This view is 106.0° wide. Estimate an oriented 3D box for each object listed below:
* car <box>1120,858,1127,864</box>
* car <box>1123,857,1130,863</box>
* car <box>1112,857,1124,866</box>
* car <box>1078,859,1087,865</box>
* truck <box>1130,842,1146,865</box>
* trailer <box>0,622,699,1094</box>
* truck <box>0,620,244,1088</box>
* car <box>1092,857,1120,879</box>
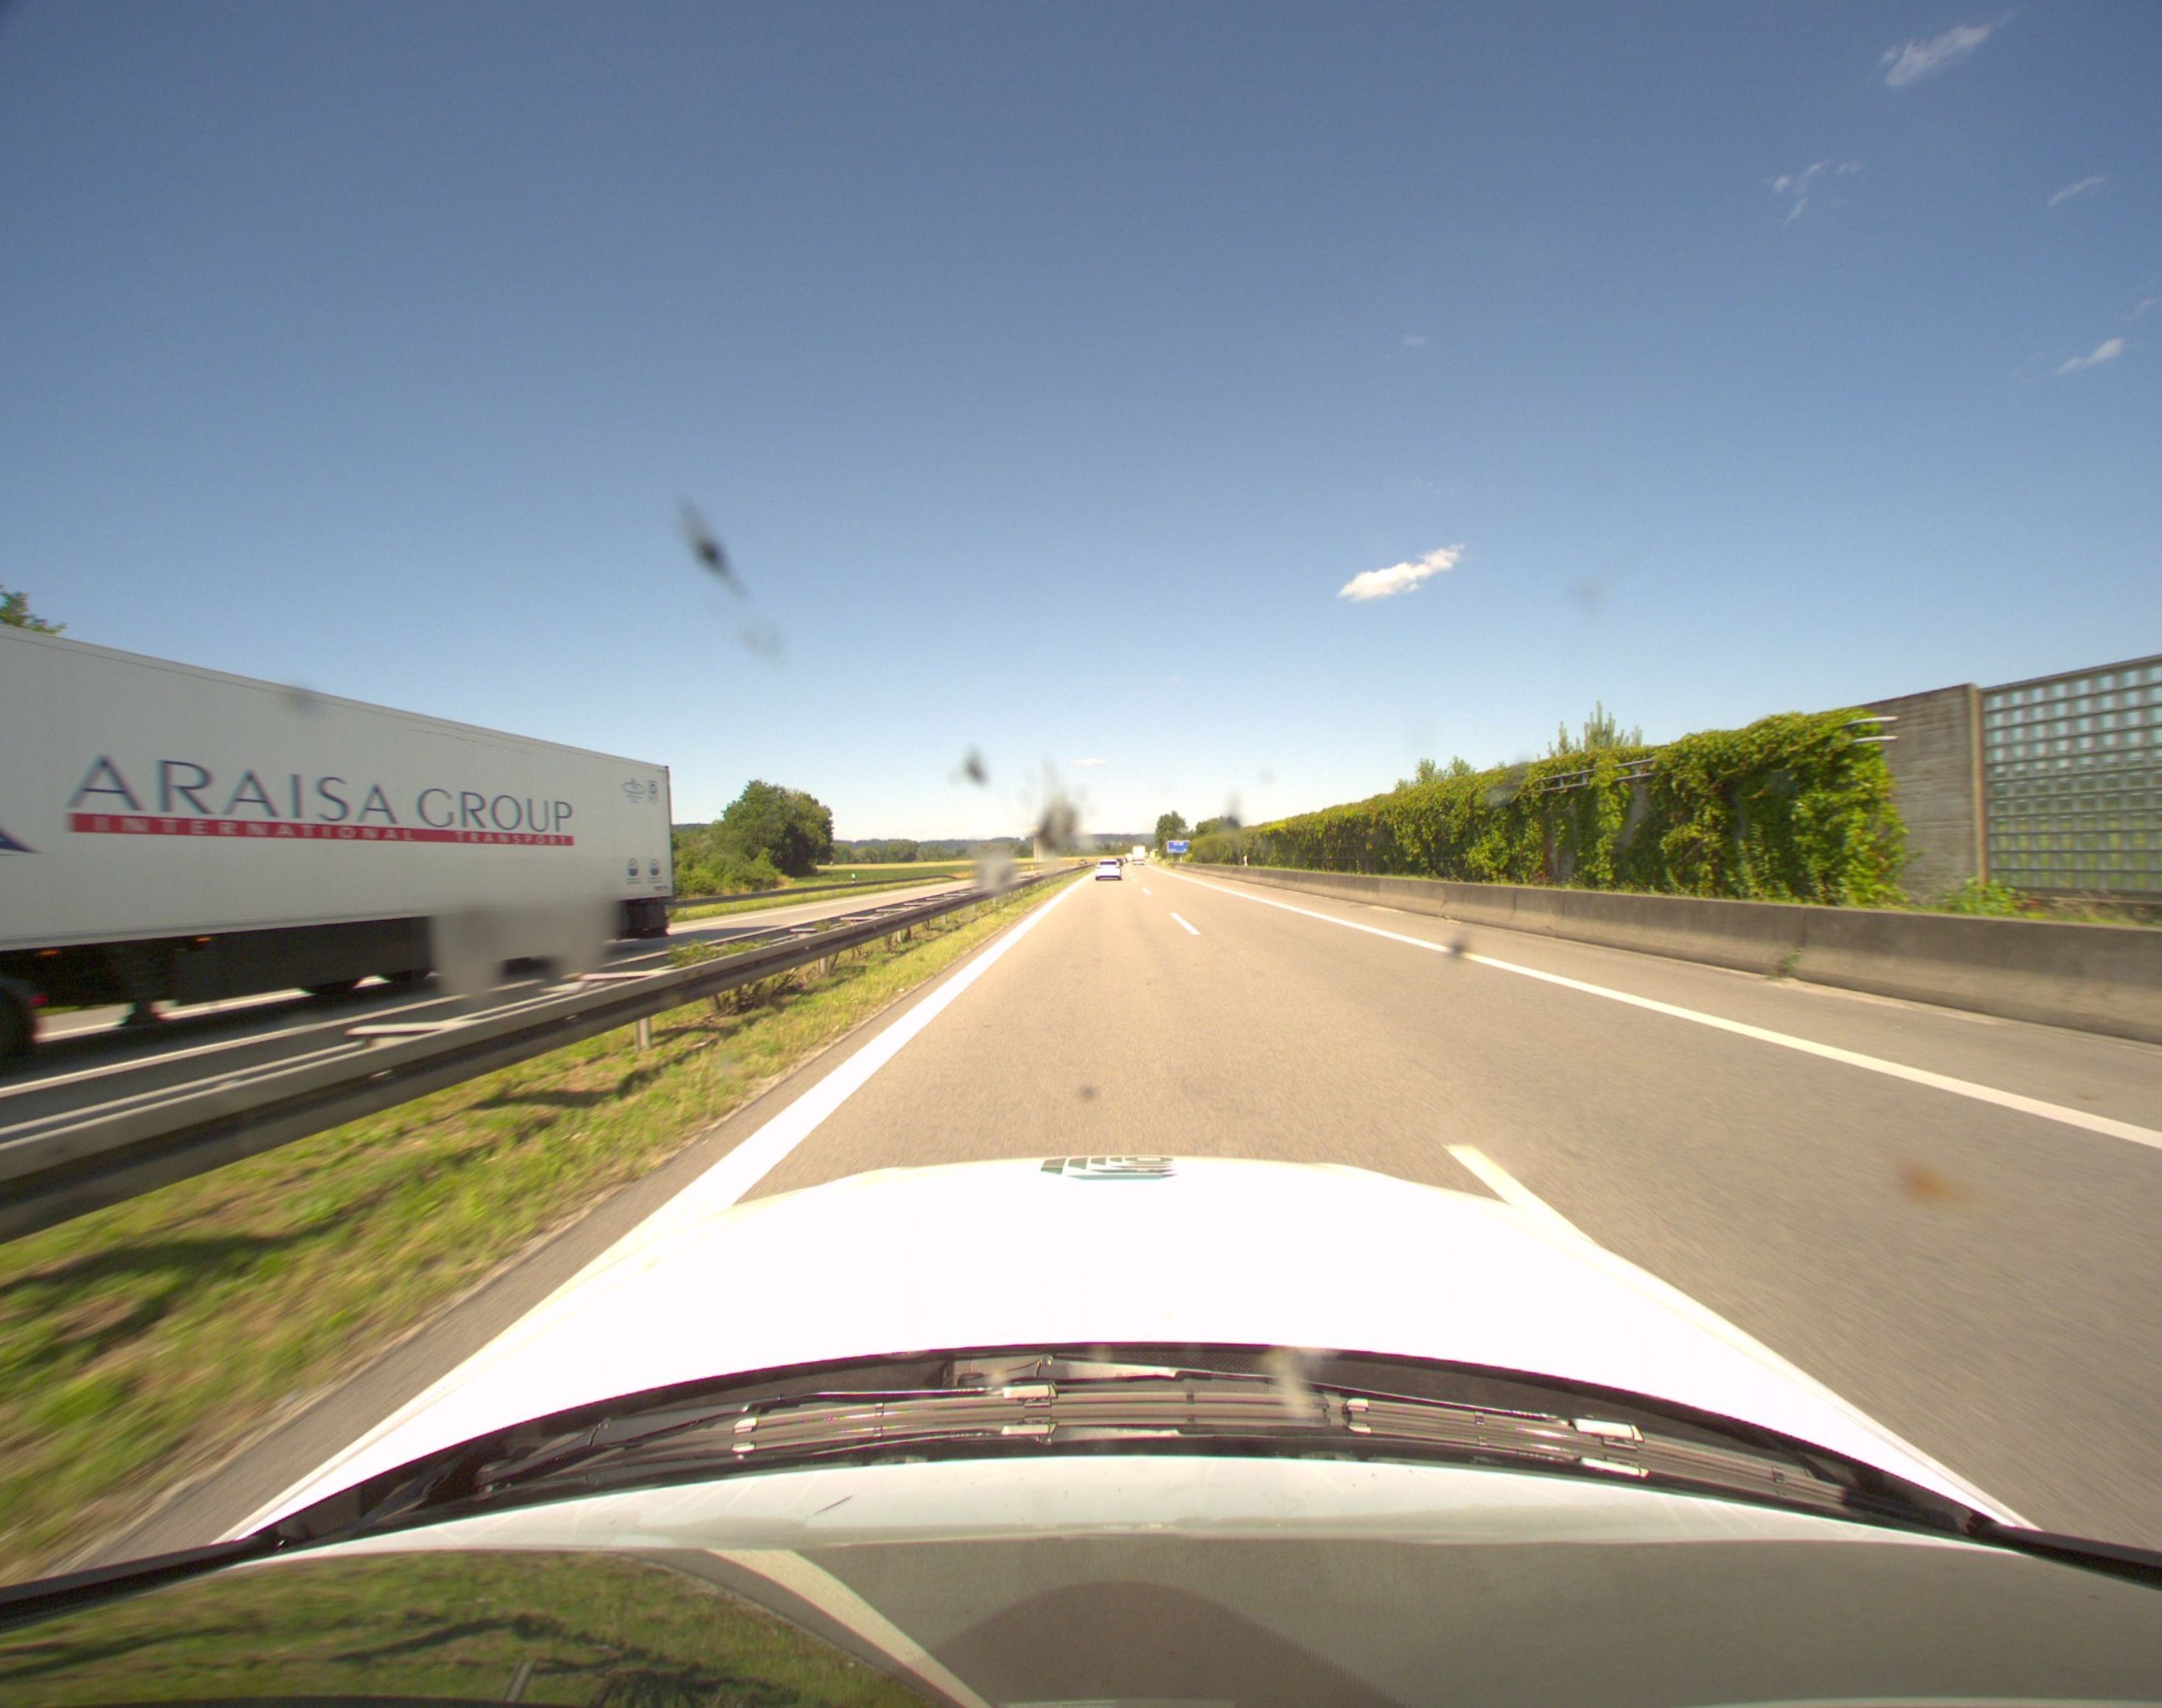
[{"bbox_3d":[11.129,1.875,213.336,1.763,1.421,4.370,-2,0,5],"label":"car"},{"bbox_3d":[12.956,1.664,231.849,1.763,1.421,4.371,-2,0,5],"label":"car"},{"bbox_3d":[6.240,1.275,136.891,1.763,1.421,4.501,-2,0,5],"label":"car"},{"bbox_3d":[0.385,2.168,222.231,1.985,1.661,4.779,-4,0,3],"label":"car"},{"bbox_3d":[12.377,-0.077,176.620,3.138,4.612,8.914,-3,0,4],"label":"truck"},{"bbox_3d":[-10.822,0.115,12.287,3.139,4.124,13.447,-4,0,2],"label":"trailer"},{"bbox_3d":[-11.078,0.085,5.158,3.145,4.101,7.738,-4,0,2],"label":"truck"},{"bbox_3d":[1.790,0.933,56.676,1.833,1.421,5.257,-1,0,2],"label":"car"}]
